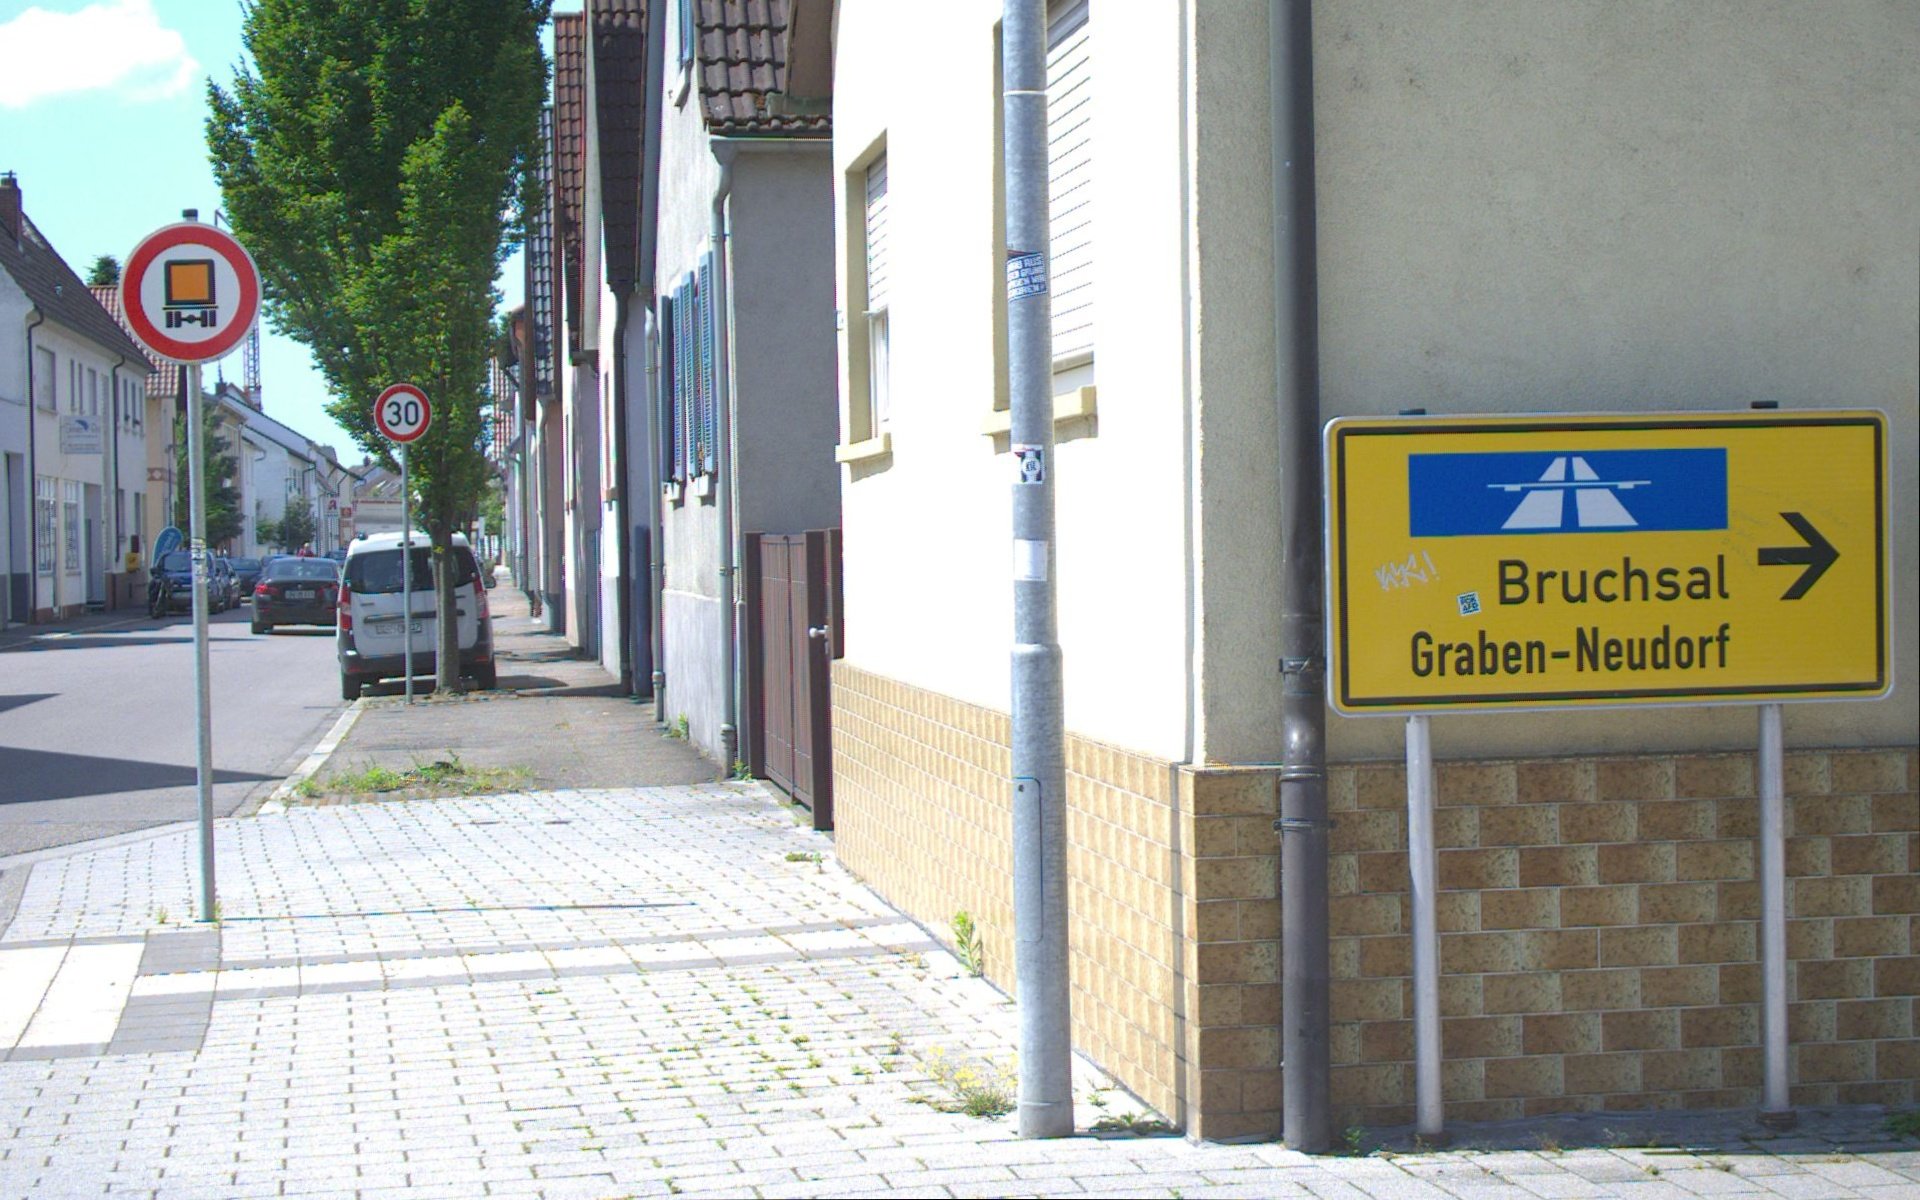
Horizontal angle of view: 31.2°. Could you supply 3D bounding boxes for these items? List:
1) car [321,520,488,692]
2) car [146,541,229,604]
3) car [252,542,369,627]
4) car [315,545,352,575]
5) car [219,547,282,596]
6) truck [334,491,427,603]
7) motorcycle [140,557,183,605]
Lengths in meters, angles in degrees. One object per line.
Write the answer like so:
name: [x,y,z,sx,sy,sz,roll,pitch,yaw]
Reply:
car: [-6.356,0.030,39.246,1.719,1.784,4.145,-2,1,-10]
car: [-19.975,-0.732,88.999,1.809,1.583,4.001,0,1,-9]
car: [-12.508,-0.320,66.400,1.902,1.558,4.477,0,1,-7]
car: [-33.368,-2.137,183.157,1.809,1.583,4.001,0,1,-8]
car: [-23.429,-0.954,113.580,1.809,1.583,4.001,0,1,-9]
truck: [-22.974,-2.071,136.738,3.144,4.236,9.304,1,0,-7]
motorcycle: [-19.770,-0.480,85.144,0.846,1.166,2.470,1,0,-9]
